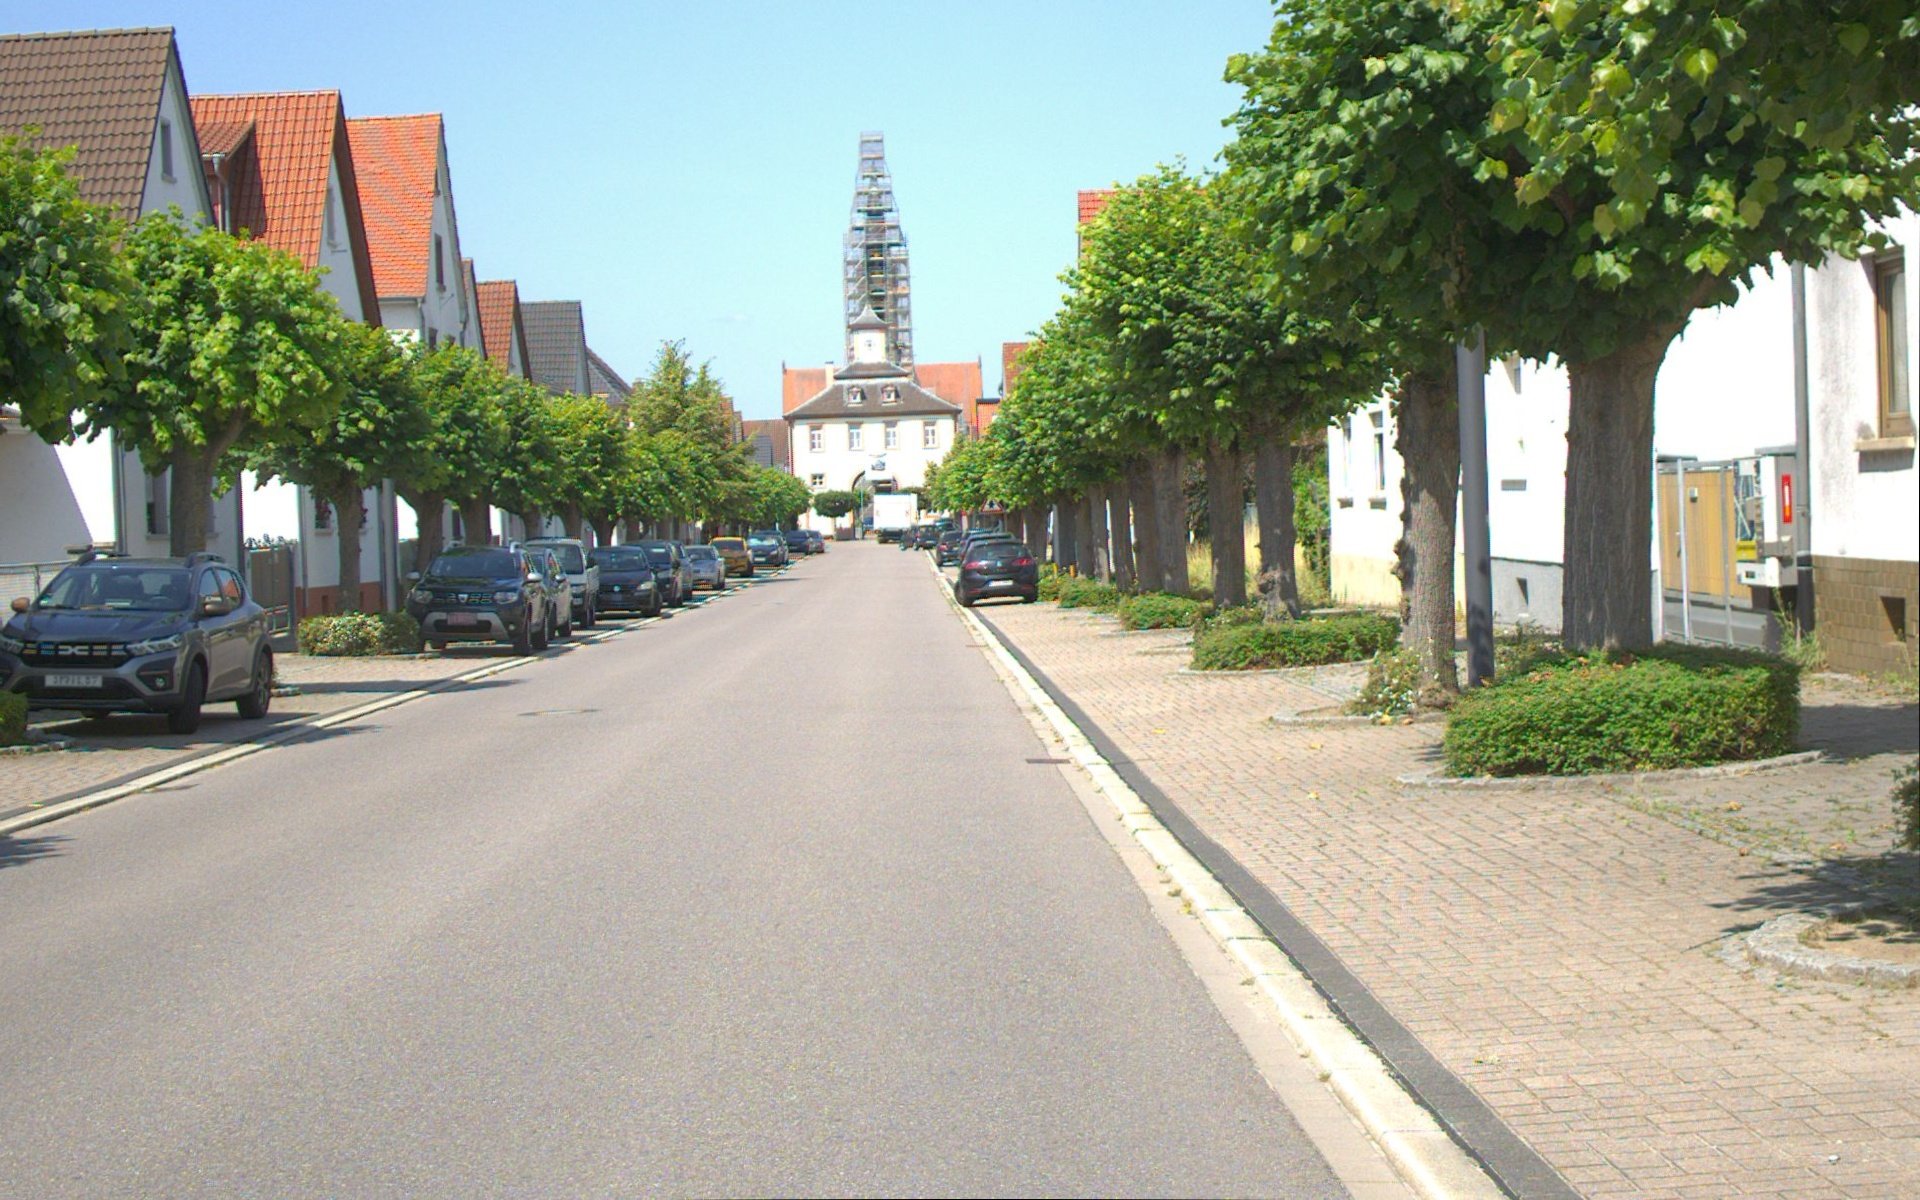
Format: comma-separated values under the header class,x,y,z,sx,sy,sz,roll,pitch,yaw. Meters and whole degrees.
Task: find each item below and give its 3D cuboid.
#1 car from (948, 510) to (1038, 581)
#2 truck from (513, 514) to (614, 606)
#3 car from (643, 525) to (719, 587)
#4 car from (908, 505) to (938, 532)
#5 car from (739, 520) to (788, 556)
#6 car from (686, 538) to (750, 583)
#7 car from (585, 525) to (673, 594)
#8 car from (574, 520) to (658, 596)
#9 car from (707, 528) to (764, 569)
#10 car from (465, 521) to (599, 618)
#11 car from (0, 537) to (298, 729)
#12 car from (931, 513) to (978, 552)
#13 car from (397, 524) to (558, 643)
class,x,y,z,sx,sy,sz,roll,pitch,yaw
car,0.707,-1.242,76.680,1.824,1.427,4.057,-4,2,-1
truck,-7.798,-0.801,67.895,1.576,1.759,4.192,1,1,-1
car,-7.626,-1.233,94.152,1.993,1.647,4.368,-1,1,-4
car,-2.202,-4.787,202.731,1.729,1.542,3.456,0,1,-1
car,-9.159,-2.914,160.525,1.993,1.606,4.689,1,2,0
car,-7.666,-1.269,109.192,1.840,1.391,4.407,-1,1,-1
car,-8.103,-1.001,84.468,1.853,1.629,4.057,0,1,-1
car,-7.636,-0.949,76.113,1.785,1.628,4.001,0,1,-6
car,-9.034,-2.092,138.622,1.993,1.606,4.689,0,1,0
car,-7.390,-0.543,59.703,1.853,1.607,4.371,1,1,-1
car,-7.362,0.241,31.155,1.853,1.607,4.135,1,1,1
car,-0.260,-2.881,146.404,1.837,1.550,4.314,-3,1,-1
car,-7.178,-0.280,51.498,1.853,1.630,4.300,1,2,-1
